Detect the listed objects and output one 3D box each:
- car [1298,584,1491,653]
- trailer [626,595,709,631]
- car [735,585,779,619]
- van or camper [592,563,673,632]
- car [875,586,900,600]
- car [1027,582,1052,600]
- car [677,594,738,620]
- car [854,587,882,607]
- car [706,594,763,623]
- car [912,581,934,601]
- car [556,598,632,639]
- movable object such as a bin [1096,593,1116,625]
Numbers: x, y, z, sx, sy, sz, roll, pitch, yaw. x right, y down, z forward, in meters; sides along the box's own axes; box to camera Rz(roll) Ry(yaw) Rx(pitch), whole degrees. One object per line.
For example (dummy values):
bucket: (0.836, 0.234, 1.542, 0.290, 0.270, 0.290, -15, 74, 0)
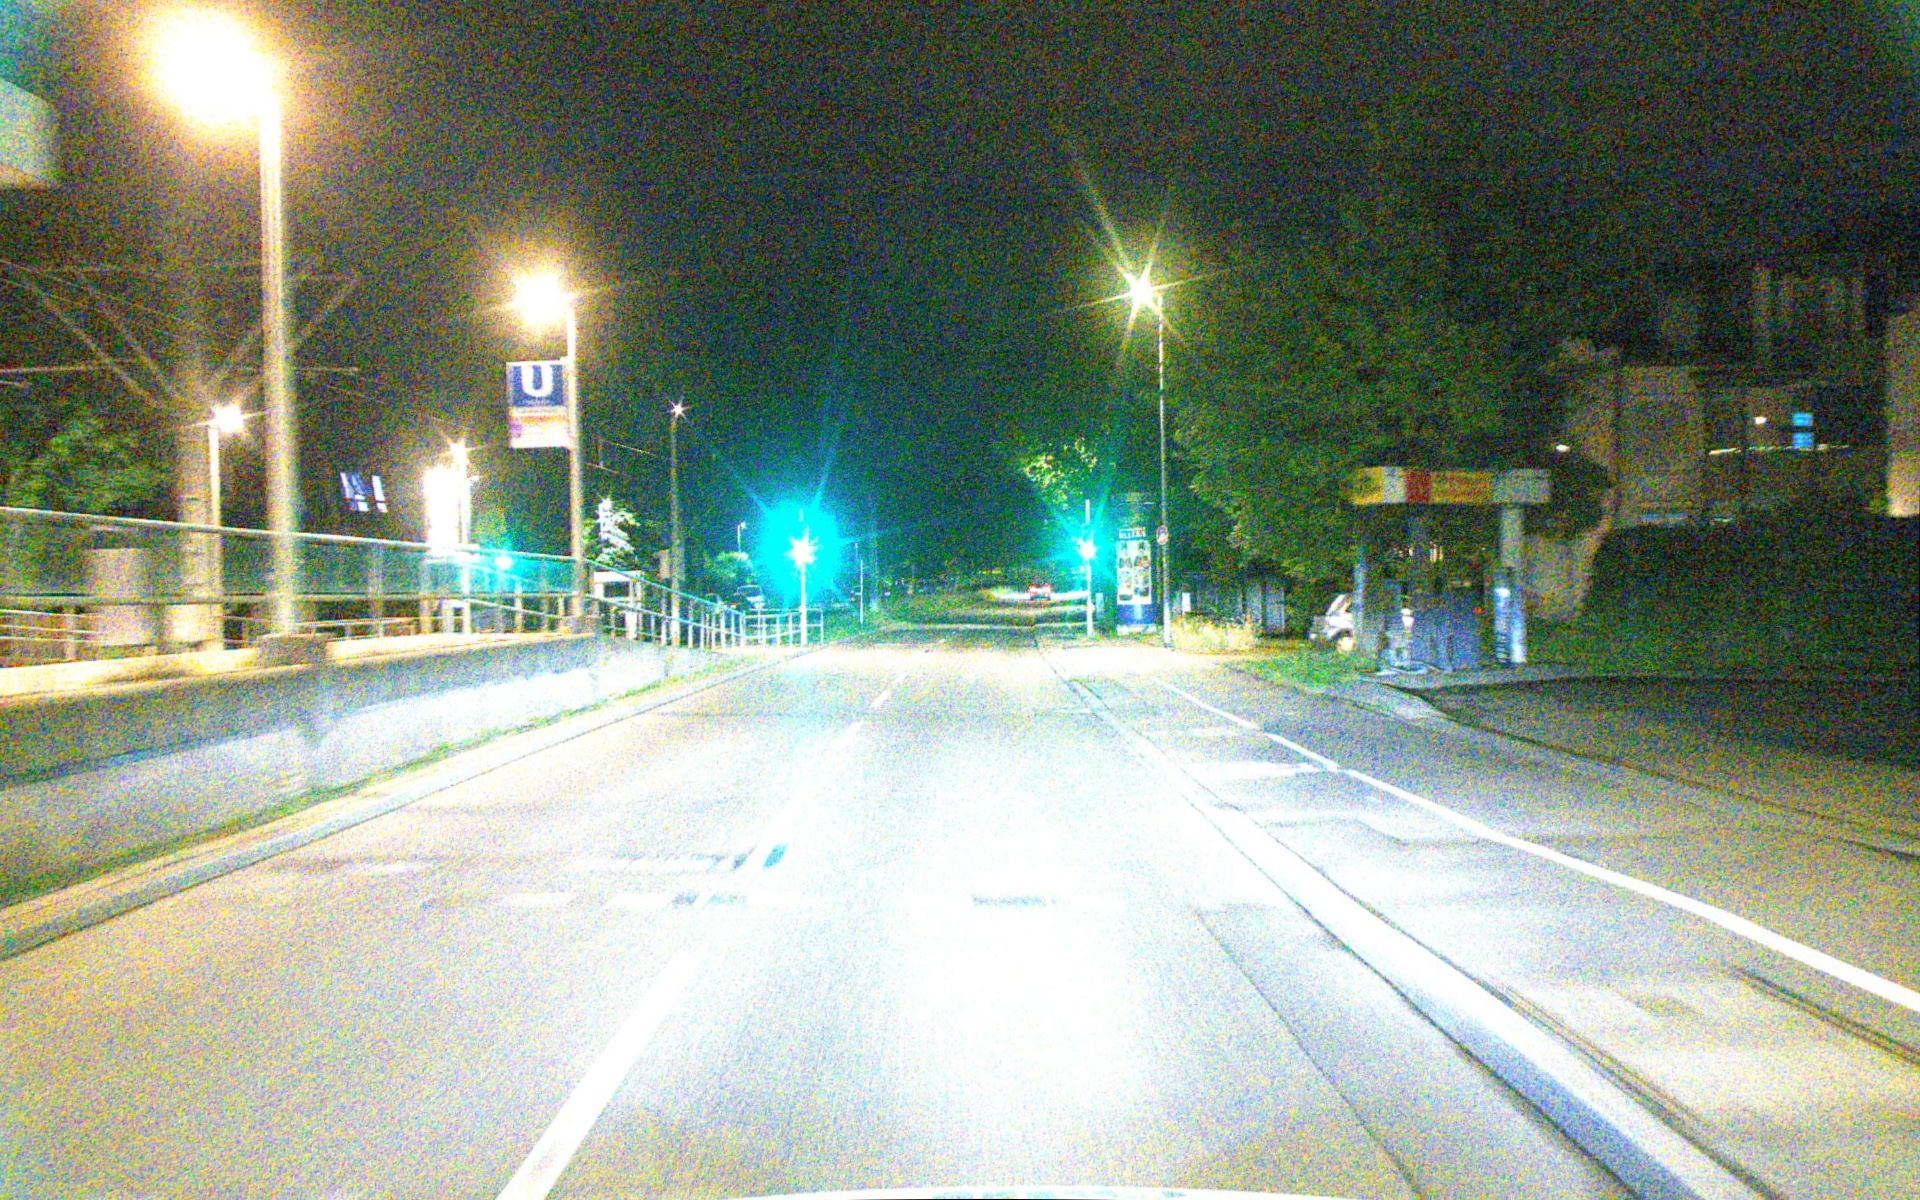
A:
car: (9.294, 0.382, 35.575, 3.686, 1.378, 1.859, -1, 0, 1)
trailer: (-13.643, 0.592, 77.414, 2.368, 1.398, 4.659, -5, 0, 8)
car: (-11.936, 0.114, 97.563, 1.818, 1.937, 4.881, -1, 0, 1)
van or camper: (-13.909, -0.123, 70.549, 2.226, 2.693, 5.664, -3, 0, 0)
car: (-7.253, -0.731, 165.507, 1.952, 1.361, 5.435, -1, 0, 4)
car: (7.170, -0.835, 148.707, 2.117, 1.610, 4.014, 0, 0, 1)
car: (-13.126, 0.359, 86.023, 2.967, 1.349, 1.533, -1, 0, -1)
car: (-8.101, -0.265, 145.803, 1.952, 1.656, 4.679, -1, 0, 4)
car: (-12.439, 0.438, 91.499, 1.861, 1.549, 5.175, -1, 0, 6)
car: (-4.378, -1.084, 195.892, 2.048, 2.048, 4.002, -5, 1, 4)
car: (-14.152, 0.693, 64.122, 1.612, 1.362, 4.545, -5, 0, 3)
movable object such as a bin: (5.743, 0.345, 65.133, 0.708, 1.222, 0.720, -1, 0, 11)
